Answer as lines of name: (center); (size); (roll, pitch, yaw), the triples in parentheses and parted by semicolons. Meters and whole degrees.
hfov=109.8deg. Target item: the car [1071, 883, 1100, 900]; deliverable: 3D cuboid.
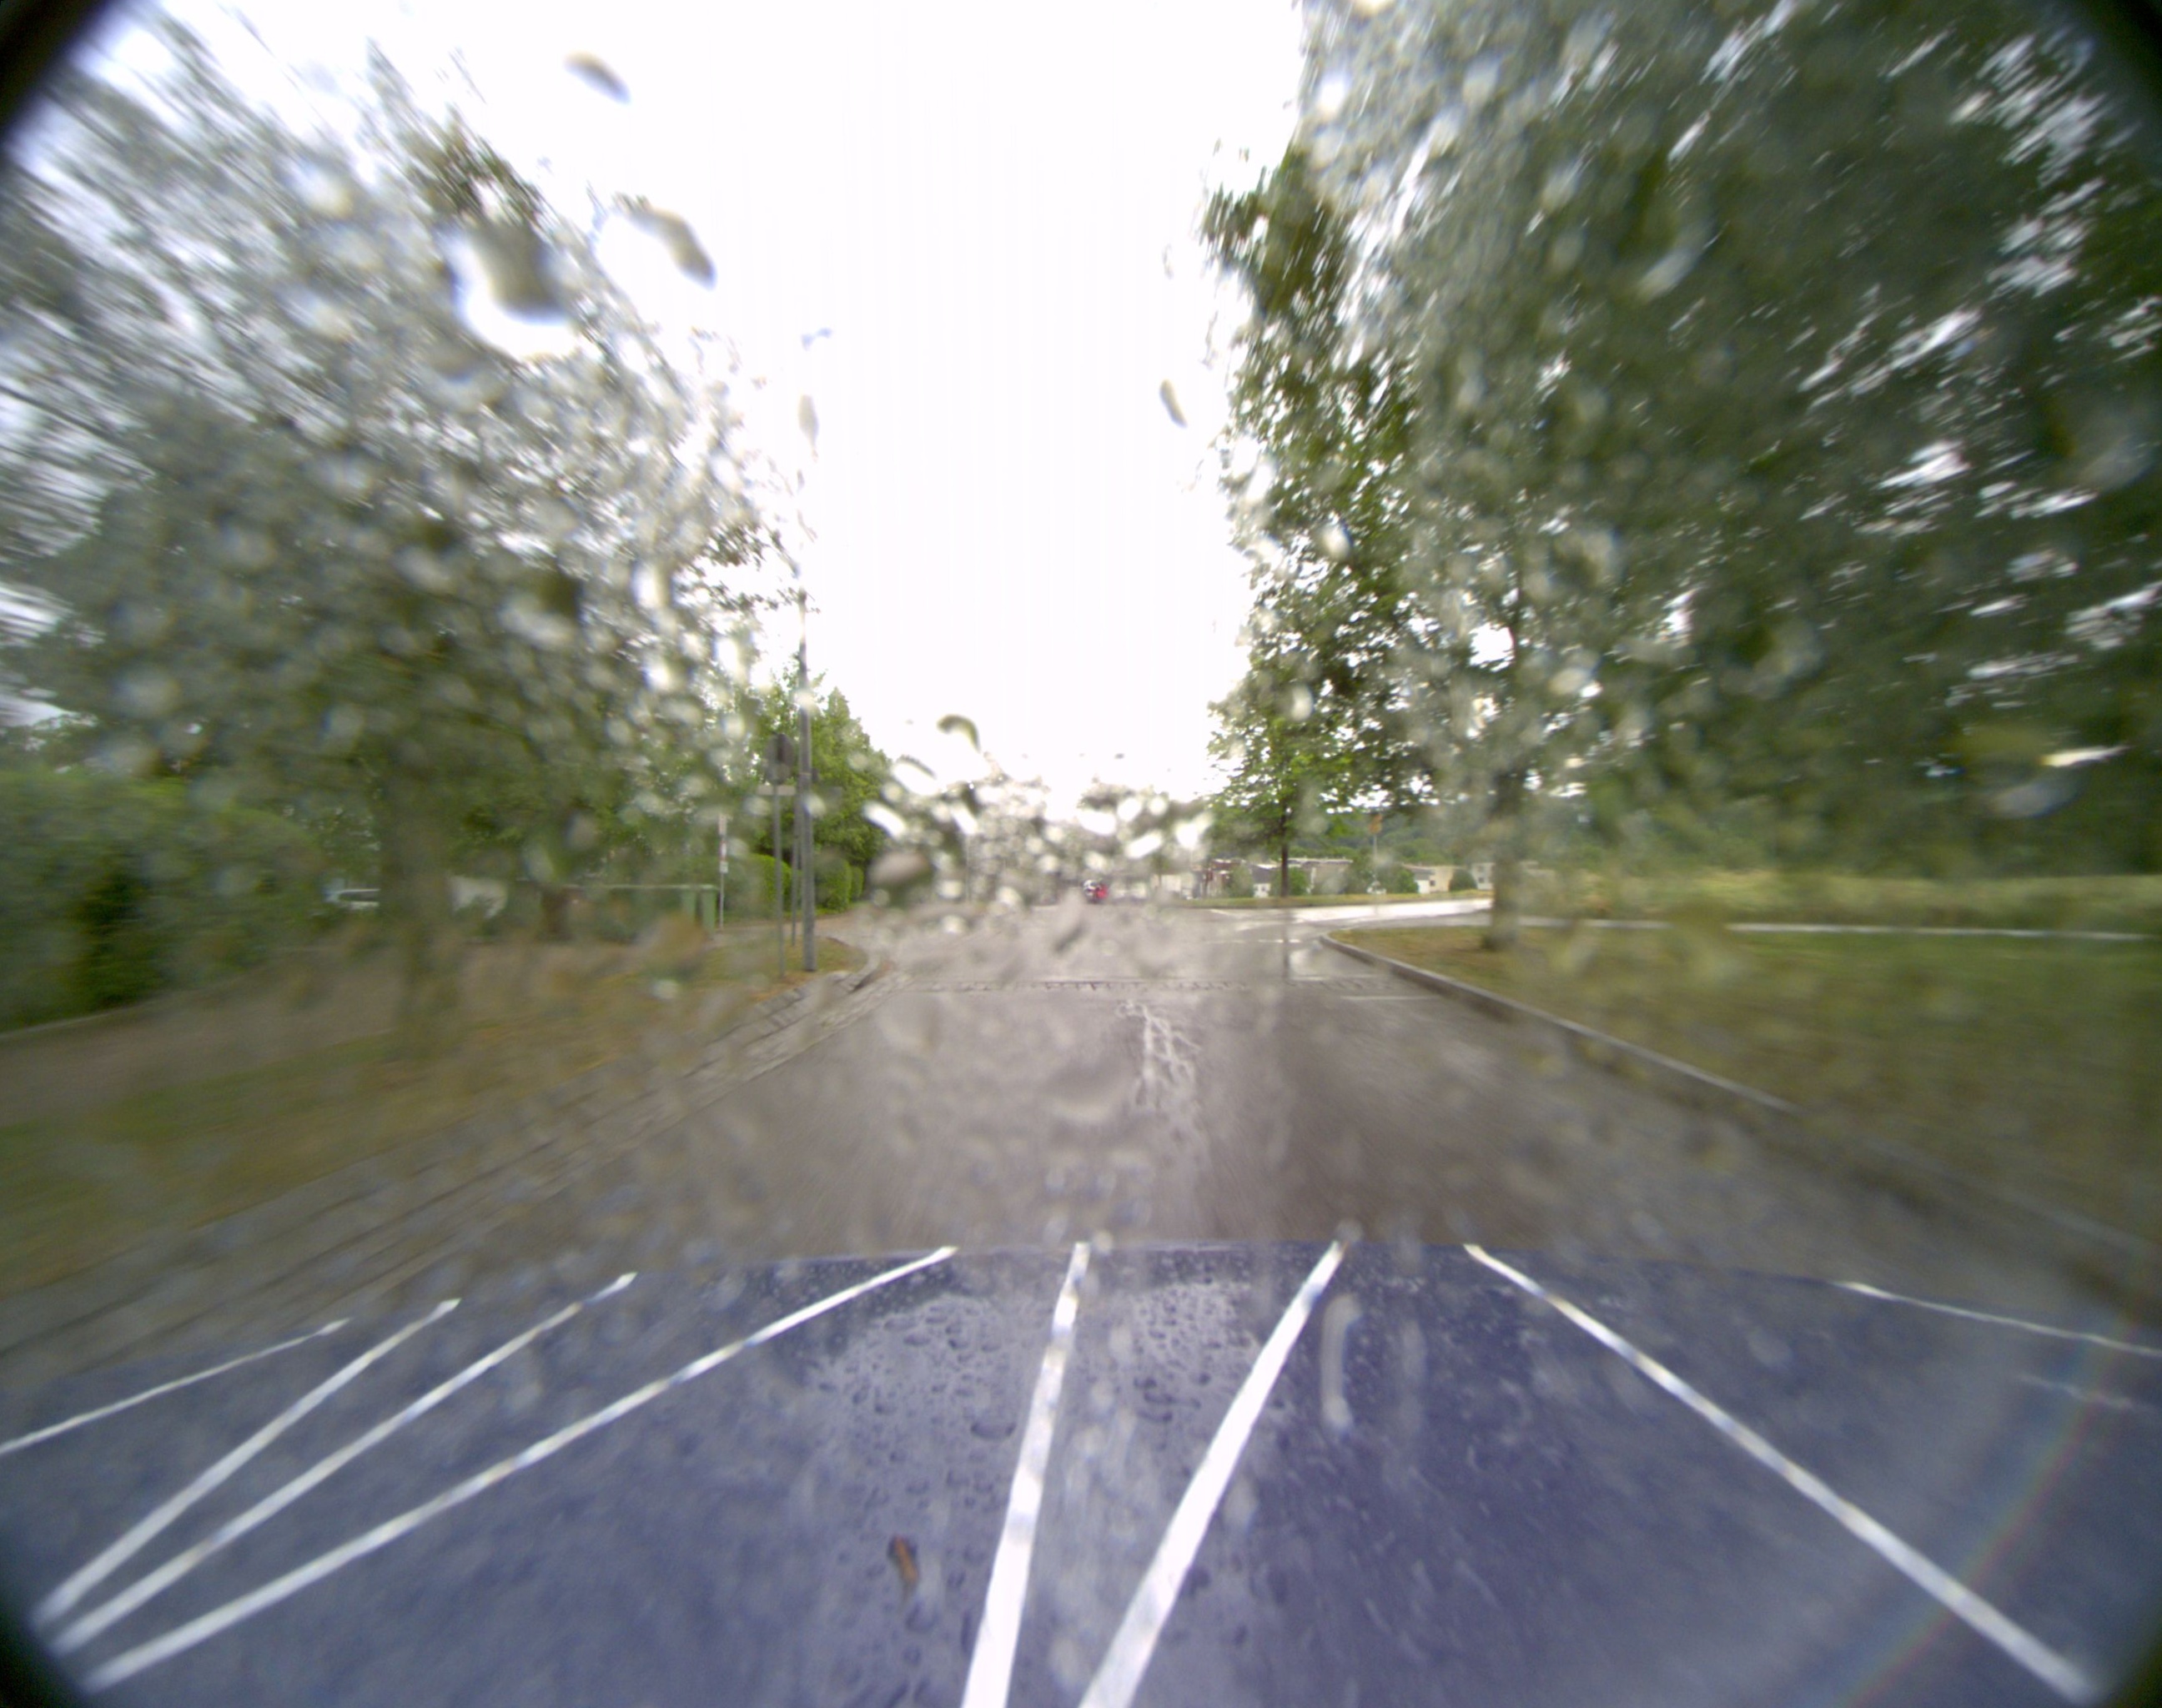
car: (0.306, 2.910, 58.944); (1.734, 1.273, 3.327); (-1, -3, -9)

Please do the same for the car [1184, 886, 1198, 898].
car: (31.787, 10.948, 220.265); (2.141, 3.205, 5.084); (-1, -2, -14)

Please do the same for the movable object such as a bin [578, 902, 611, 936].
movable object such as a bin: (-13.780, 1.840, 21.522); (0.529, 0.925, 0.573); (-2, -3, 13)

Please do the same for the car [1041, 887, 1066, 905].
car: (-2.802, 4.284, 76.363); (1.962, 1.596, 4.000); (0, -5, -11)

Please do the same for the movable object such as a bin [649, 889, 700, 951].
movable object such as a bin: (-7.268, 1.175, 13.603); (0.543, 1.067, 0.667); (-1, -2, 0)

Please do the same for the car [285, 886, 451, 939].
car: (-25.535, 2.045, 27.417); (1.776, 1.654, 4.005); (-1, -1, 15)

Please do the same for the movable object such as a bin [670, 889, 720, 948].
movable object such as a bin: (-7.295, 1.204, 14.378); (0.601, 1.068, 0.697); (-1, -2, 0)

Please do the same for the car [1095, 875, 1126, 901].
car: (1.716, 2.017, 44.853); (1.553, 1.427, 3.012); (-2, -3, -3)

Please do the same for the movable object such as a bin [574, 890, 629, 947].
movable object such as a bin: (-9.116, 1.219, 14.471); (0.605, 1.048, 0.697); (-1, -2, 0)

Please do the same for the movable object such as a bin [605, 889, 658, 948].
movable object such as a bin: (-8.492, 1.207, 14.371); (0.578, 1.060, 0.697); (-1, -2, 0)

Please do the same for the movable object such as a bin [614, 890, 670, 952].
movable object such as a bin: (-7.880, 1.185, 13.653); (0.597, 1.066, 0.697); (-1, -2, 0)

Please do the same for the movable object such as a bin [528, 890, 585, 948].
movable object such as a bin: (-9.956, 1.220, 14.447); (0.605, 1.048, 0.697); (-1, -2, 0)

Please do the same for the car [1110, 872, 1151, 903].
car: (2.490, 1.702, 39.160); (1.679, 1.470, 3.555); (-2, -2, -3)

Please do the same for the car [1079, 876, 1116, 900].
car: (1.058, 2.320, 50.997); (1.852, 1.542, 3.989); (-1, -3, -8)

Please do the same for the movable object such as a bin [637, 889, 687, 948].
movable object such as a bin: (-7.913, 1.205, 14.371); (0.543, 1.068, 0.697); (-1, -2, 0)
